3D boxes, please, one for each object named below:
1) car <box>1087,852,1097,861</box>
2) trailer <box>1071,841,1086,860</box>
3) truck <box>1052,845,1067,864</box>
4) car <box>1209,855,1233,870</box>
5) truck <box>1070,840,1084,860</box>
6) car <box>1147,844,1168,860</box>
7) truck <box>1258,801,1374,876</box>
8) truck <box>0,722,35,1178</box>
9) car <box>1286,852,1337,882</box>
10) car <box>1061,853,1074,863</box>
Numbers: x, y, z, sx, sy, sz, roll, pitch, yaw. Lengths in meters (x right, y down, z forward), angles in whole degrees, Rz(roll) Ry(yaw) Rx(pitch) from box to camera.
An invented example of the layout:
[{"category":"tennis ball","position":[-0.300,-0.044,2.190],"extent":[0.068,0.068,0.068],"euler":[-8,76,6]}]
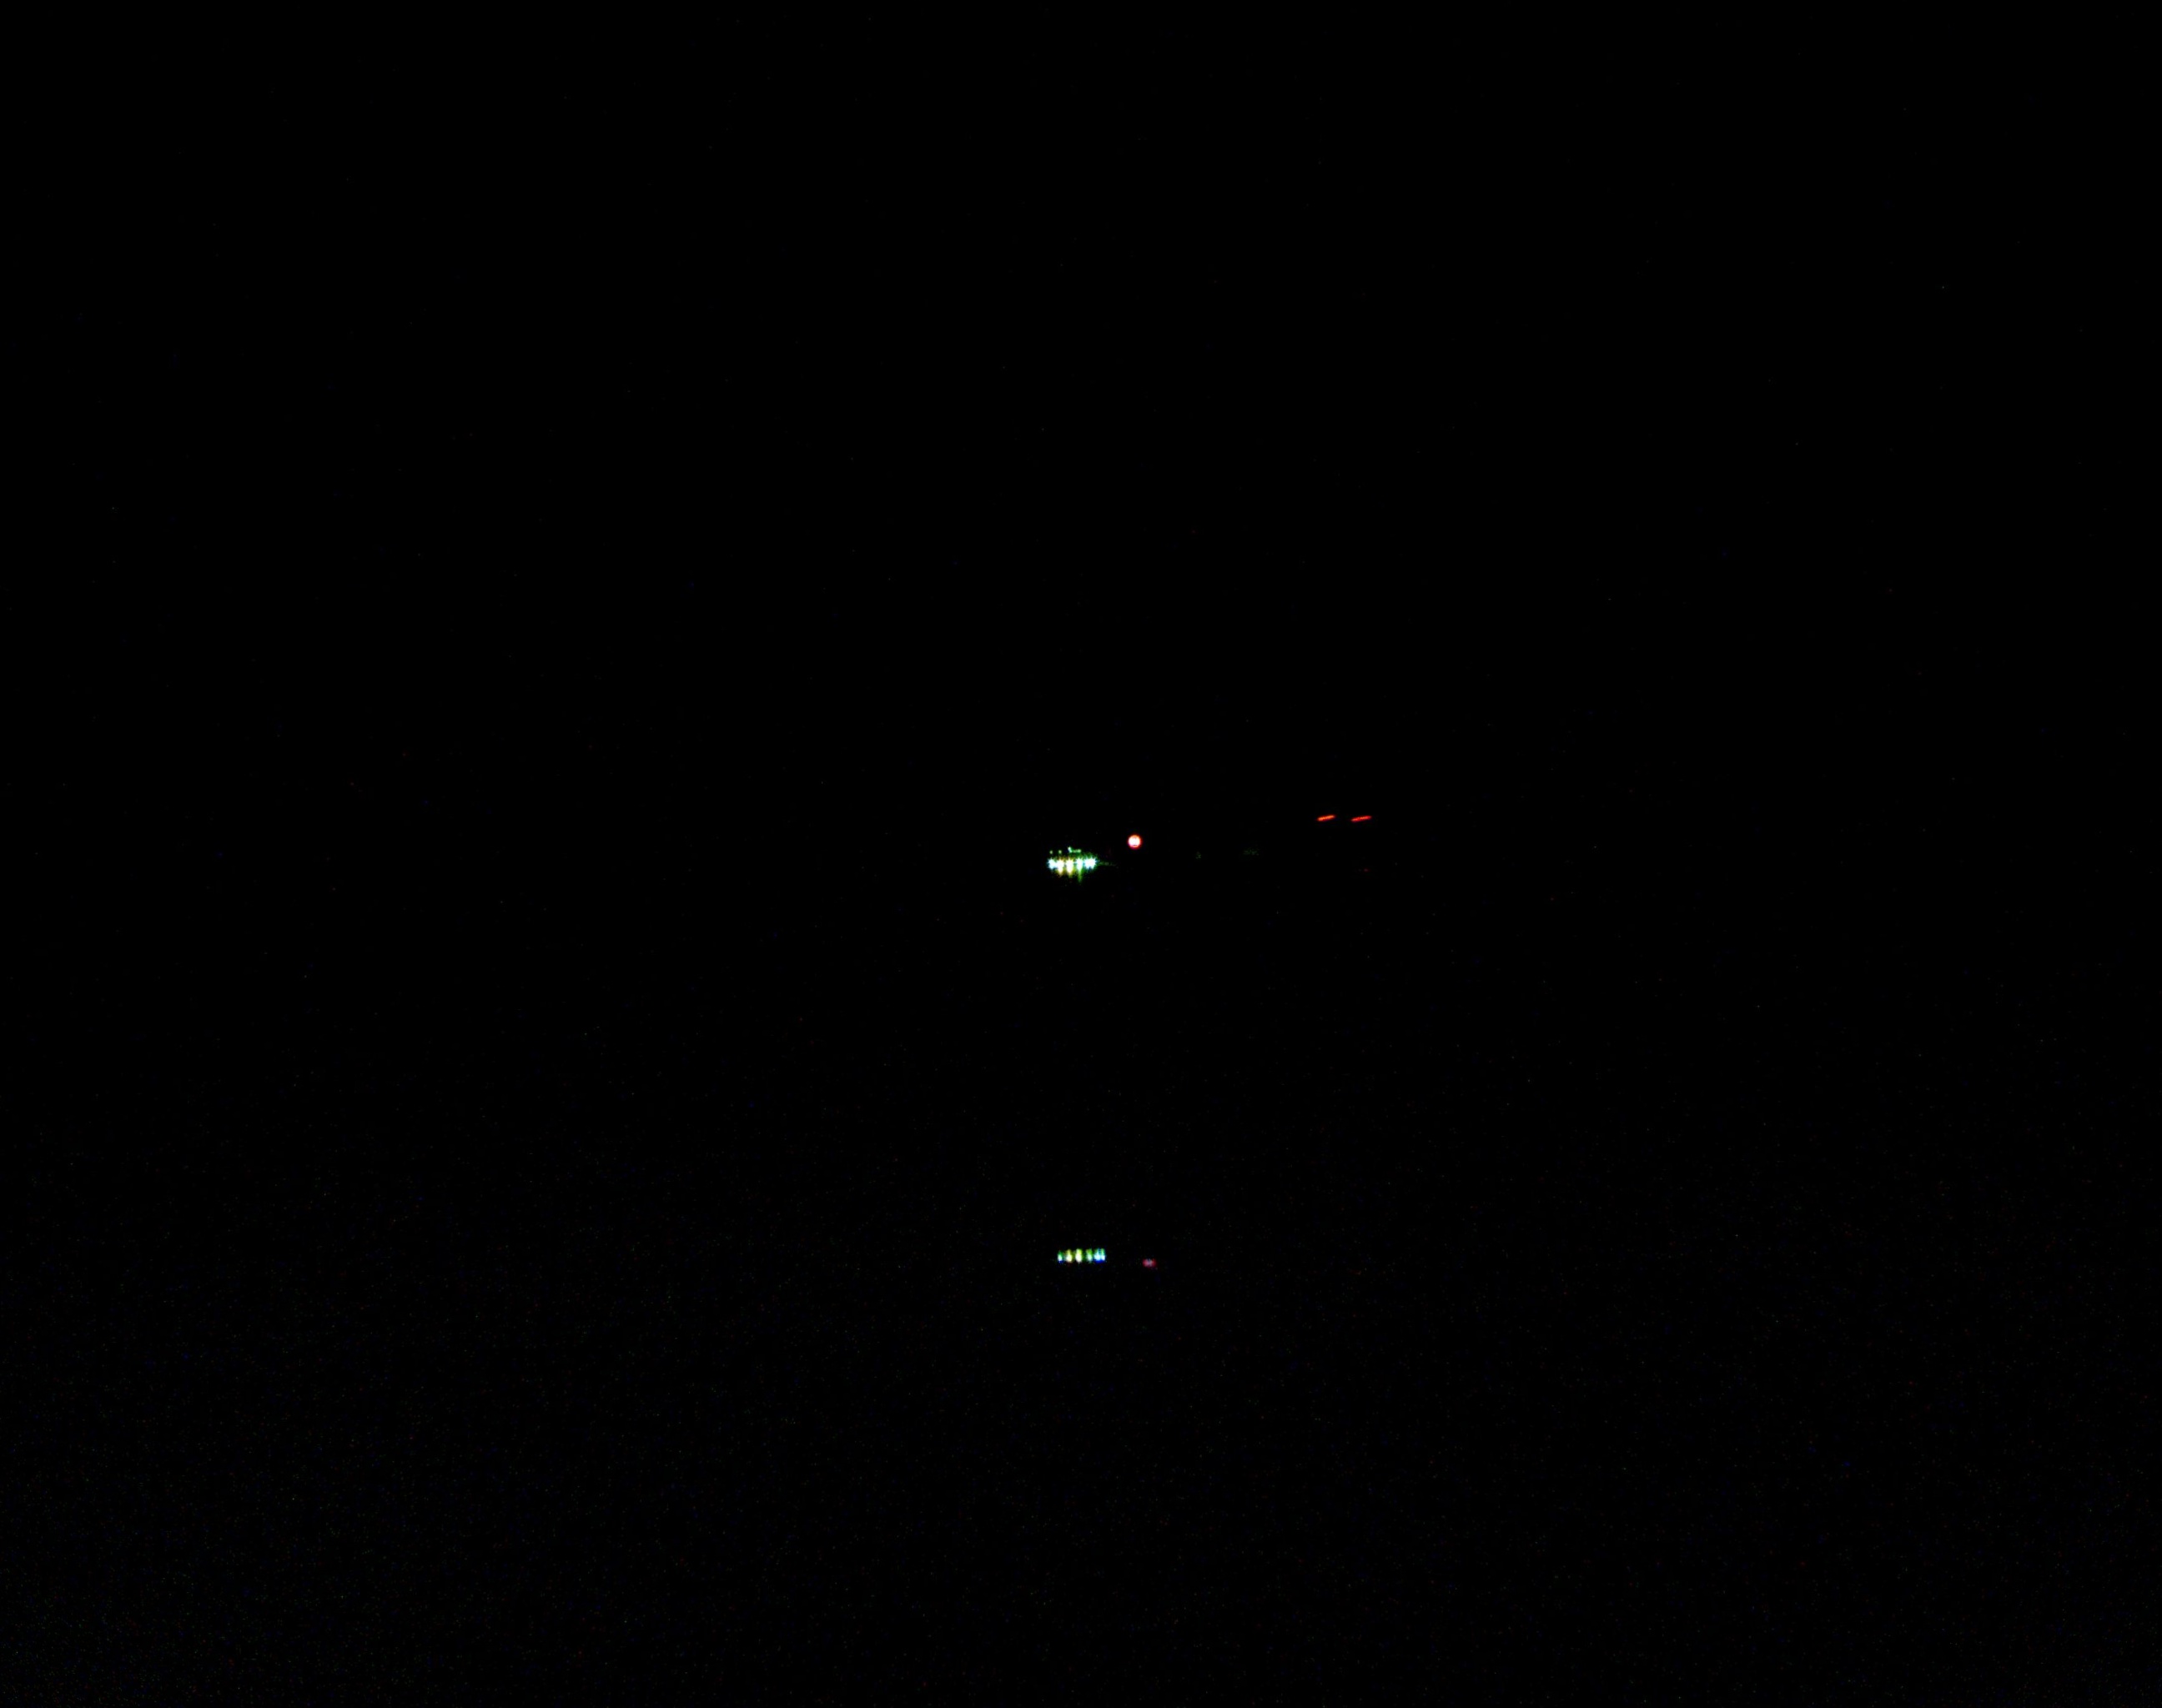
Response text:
[{"category":"car","position":[3.494,0.797,238.401],"extent":[2.859,2.795,5.942],"euler":[-3,-1,2]},{"category":"trailer","position":[-0.588,-0.757,178.558],"extent":[2.749,4.181,13.515],"euler":[-3,-1,2]},{"category":"truck","position":[-4.881,0.126,173.082],"extent":[2.597,4.048,7.676],"euler":[-3,-1,2]},{"category":"car","position":[16.572,1.023,90.263],"extent":[1.904,1.750,4.500],"euler":[-3,-1,-1]},{"category":"truck","position":[-0.879,-0.841,171.962],"extent":[2.668,4.181,6.725],"euler":[-3,-1,2]},{"category":"car","position":[10.515,-0.278,105.071],"extent":[2.214,2.001,6.945],"euler":[-3,-1,1]},{"category":"truck","position":[16.554,-0.786,55.662],"extent":[3.255,4.461,17.442],"euler":[-3,-1,1]},{"category":"truck","position":[-7.108,0.554,0.665],"extent":[2.082,2.675,7.307],"euler":[-3,1,0]},{"category":"car","position":[13.008,0.730,43.158],"extent":[1.638,1.578,4.001],"euler":[-3,-1,0]},{"category":"car","position":[-1.996,0.666,114.451],"extent":[1.701,1.379,3.502],"euler":[-3,-1,1]}]
